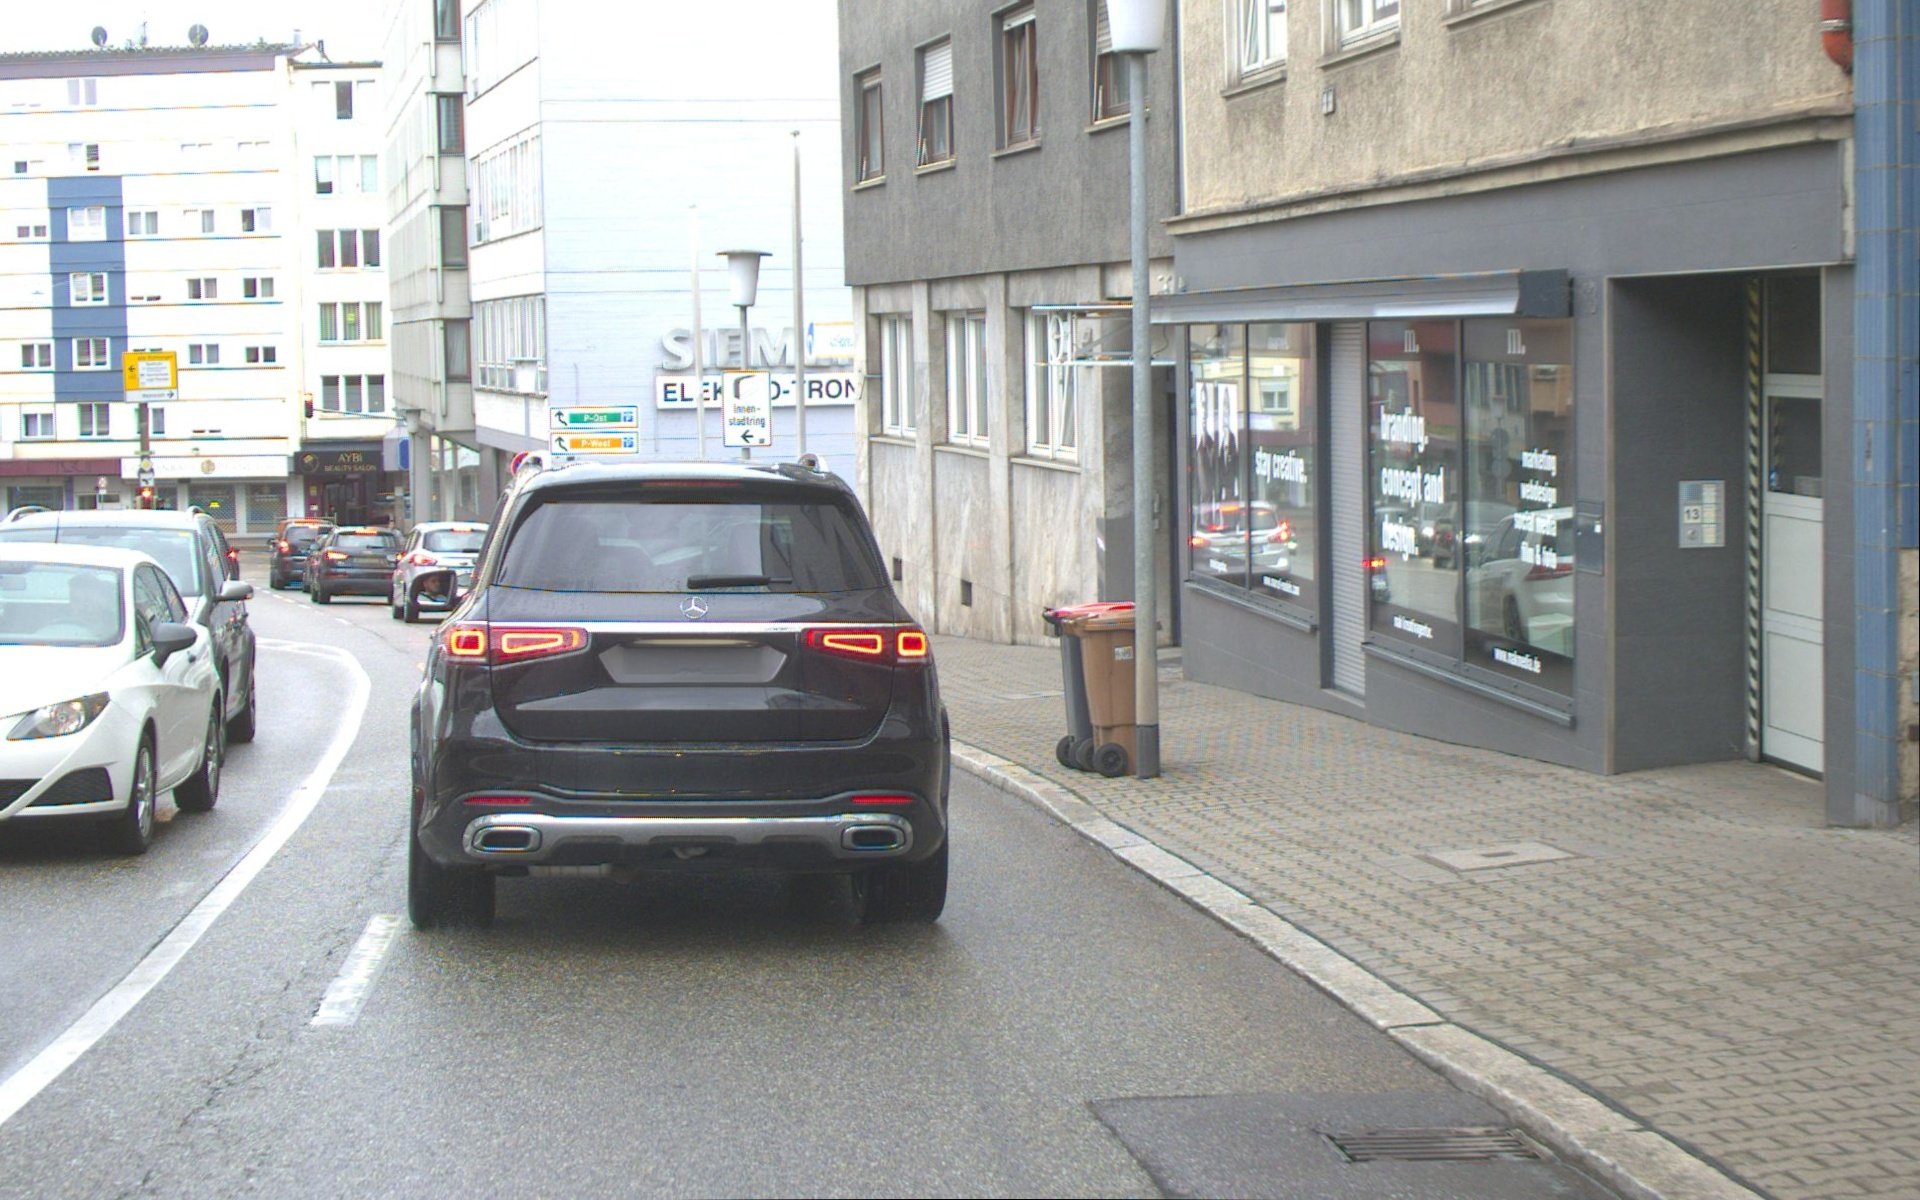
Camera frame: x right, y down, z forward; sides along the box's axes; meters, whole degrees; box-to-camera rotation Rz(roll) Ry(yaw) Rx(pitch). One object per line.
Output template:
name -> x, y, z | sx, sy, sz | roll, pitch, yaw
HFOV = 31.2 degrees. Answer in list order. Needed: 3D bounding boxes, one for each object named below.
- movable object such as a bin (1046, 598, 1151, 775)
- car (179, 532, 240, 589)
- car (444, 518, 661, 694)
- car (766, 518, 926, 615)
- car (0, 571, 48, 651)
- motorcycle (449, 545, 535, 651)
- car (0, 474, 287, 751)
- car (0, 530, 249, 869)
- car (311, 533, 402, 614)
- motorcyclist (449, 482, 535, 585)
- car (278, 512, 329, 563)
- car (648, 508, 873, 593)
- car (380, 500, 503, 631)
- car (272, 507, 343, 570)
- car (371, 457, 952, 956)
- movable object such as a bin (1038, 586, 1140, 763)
movable object such as a bin -> 0.783, 0.484, 19.543 | 0.524, 0.947, 0.537 | 0, 5, -5
car -> -17.802, -0.944, 81.627 | 1.285, 1.120, 2.788 | 0, 6, -9
car -> -3.883, 0.032, 32.574 | 1.830, 1.456, 4.380 | -3, 1, -7
car -> -1.855, -0.561, 54.596 | 1.796, 1.472, 4.486 | 0, 1, -12
car -> -19.041, 0.180, 67.280 | 1.698, 1.475, 4.292 | 1, 1, -7
motorcycle -> -5.876, -0.048, 43.077 | 0.867, 1.053, 2.940 | 0, 6, -12
car -> -5.721, 0.046, 23.690 | 1.806, 1.699, 4.563 | 1, 1, -7
car -> -4.665, 0.396, 17.116 | 1.698, 1.475, 4.292 | 1, 1, -5
car -> -12.195, -0.555, 69.326 | 1.522, 1.543, 3.108 | -1, 2, -15
motorcyclist -> -5.855, -0.849, 42.894 | 0.867, 1.053, 2.940 | 0, 6, -11
car -> -20.476, -1.970, 107.153 | 1.522, 1.543, 3.108 | 0, 2, -11
car -> -3.861, -0.934, 66.788 | 3.987, 1.592, 1.799 | 0, 0, -32
car -> -8.277, -0.588, 54.672 | 1.753, 1.774, 3.577 | 0, 6, -11
car -> -16.650, -1.575, 87.663 | 1.522, 1.543, 3.108 | -1, 2, -15
car -> -1.243, 0.317, 14.396 | 2.020, 1.733, 4.748 | 0, 1, -5
movable object such as a bin -> 0.750, 0.429, 20.102 | 0.524, 0.977, 0.537 | 0, 5, -5
